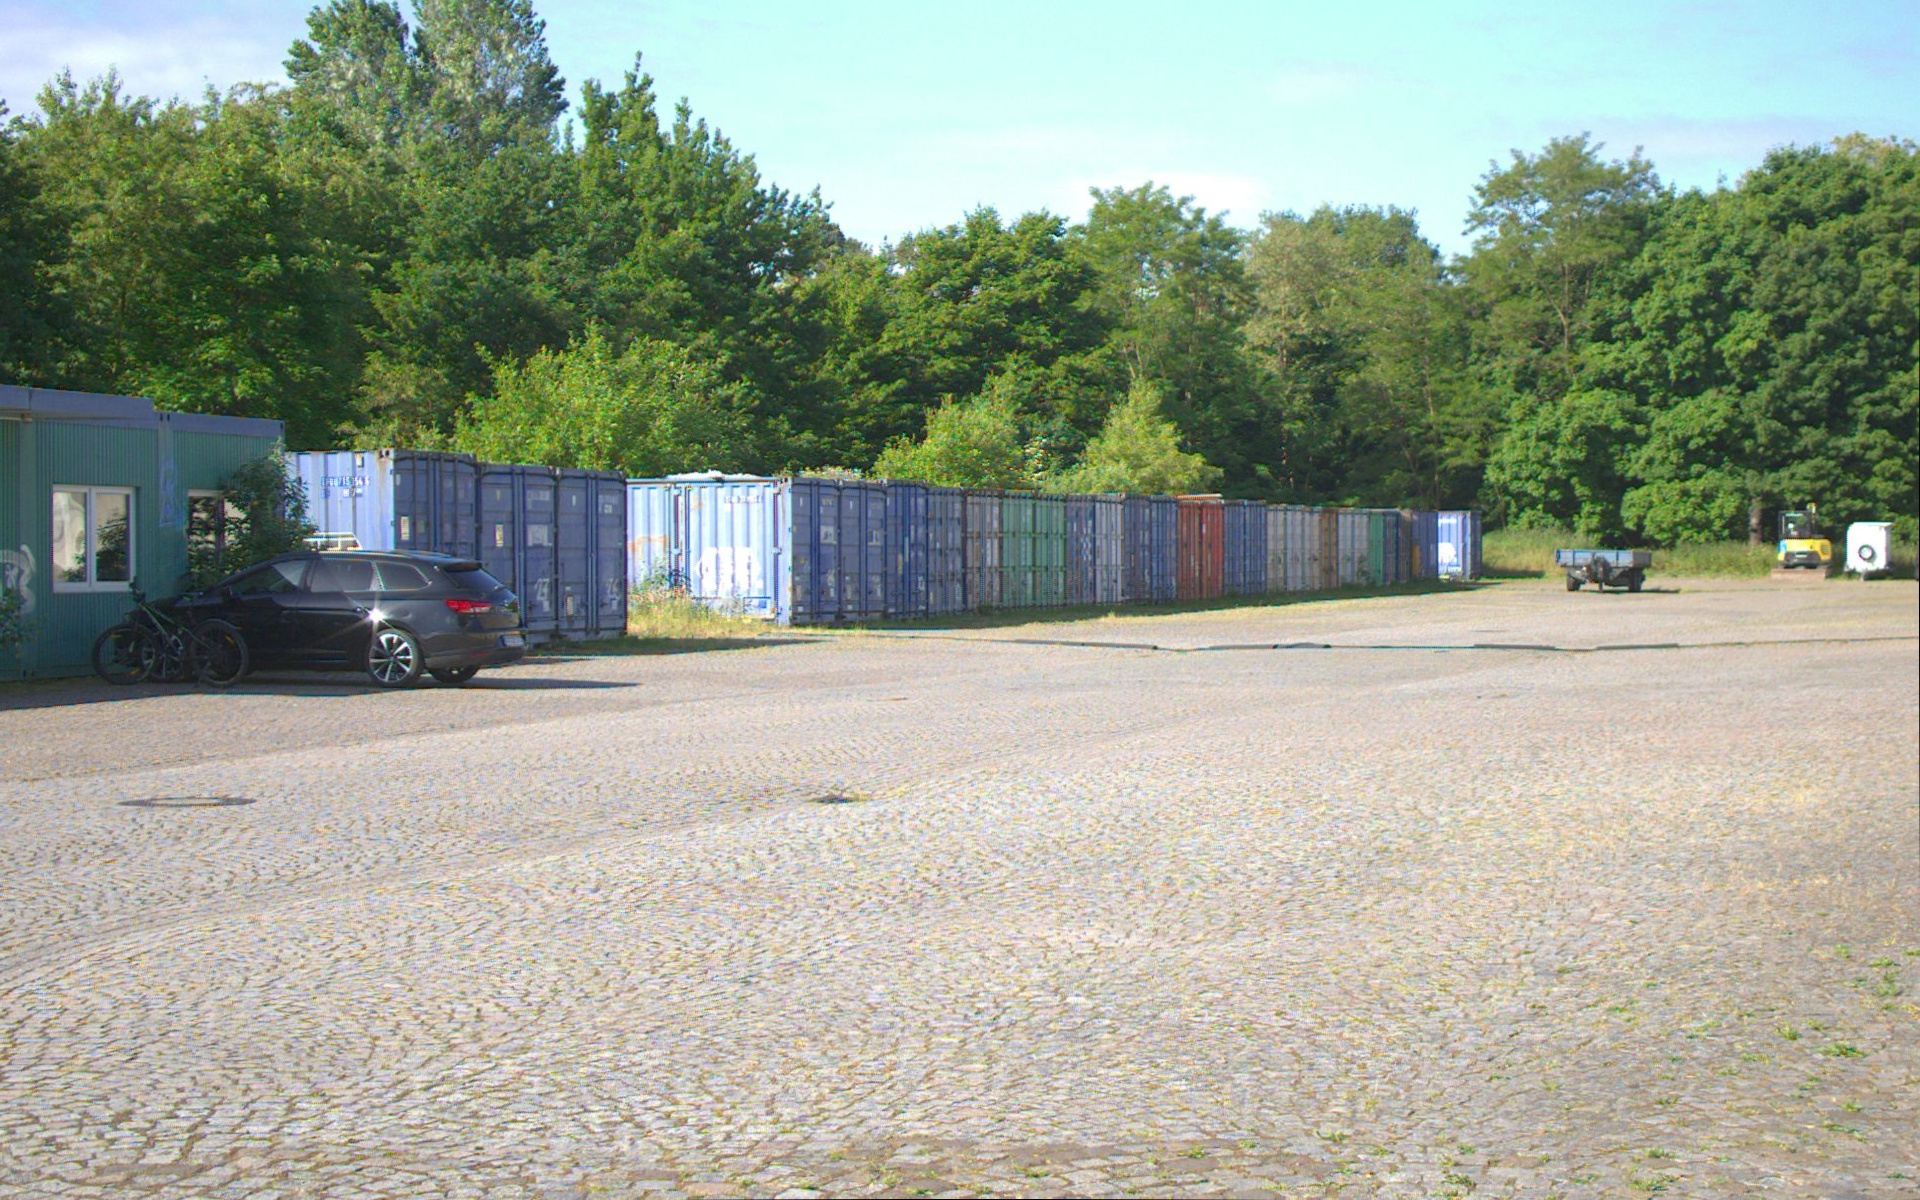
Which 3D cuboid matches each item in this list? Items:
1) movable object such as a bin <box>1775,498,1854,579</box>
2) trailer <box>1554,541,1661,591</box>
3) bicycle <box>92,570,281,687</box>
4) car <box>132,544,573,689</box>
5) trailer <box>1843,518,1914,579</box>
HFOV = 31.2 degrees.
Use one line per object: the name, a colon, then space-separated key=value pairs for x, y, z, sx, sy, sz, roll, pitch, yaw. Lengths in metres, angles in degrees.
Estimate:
movable object such as a bin: x=32.320 y=-2.371 z=129.965 sx=2.308 sy=2.886 sz=5.746 roll=2 pitch=3 yaw=19
trailer: x=21.130 y=-1.130 z=111.999 sx=2.707 sy=1.460 sz=6.242 roll=1 pitch=2 yaw=17
bicycle: x=-8.017 y=0.290 z=35.641 sx=1.805 sy=1.166 sz=0.668 roll=1 pitch=0 yaw=16
car: x=-6.527 y=0.153 z=37.056 sx=4.255 sy=1.444 sz=1.930 roll=1 pitch=1 yaw=17
trailer: x=34.381 y=-1.957 z=128.626 sx=2.195 sy=2.087 sz=5.746 roll=1 pitch=3 yaw=18
